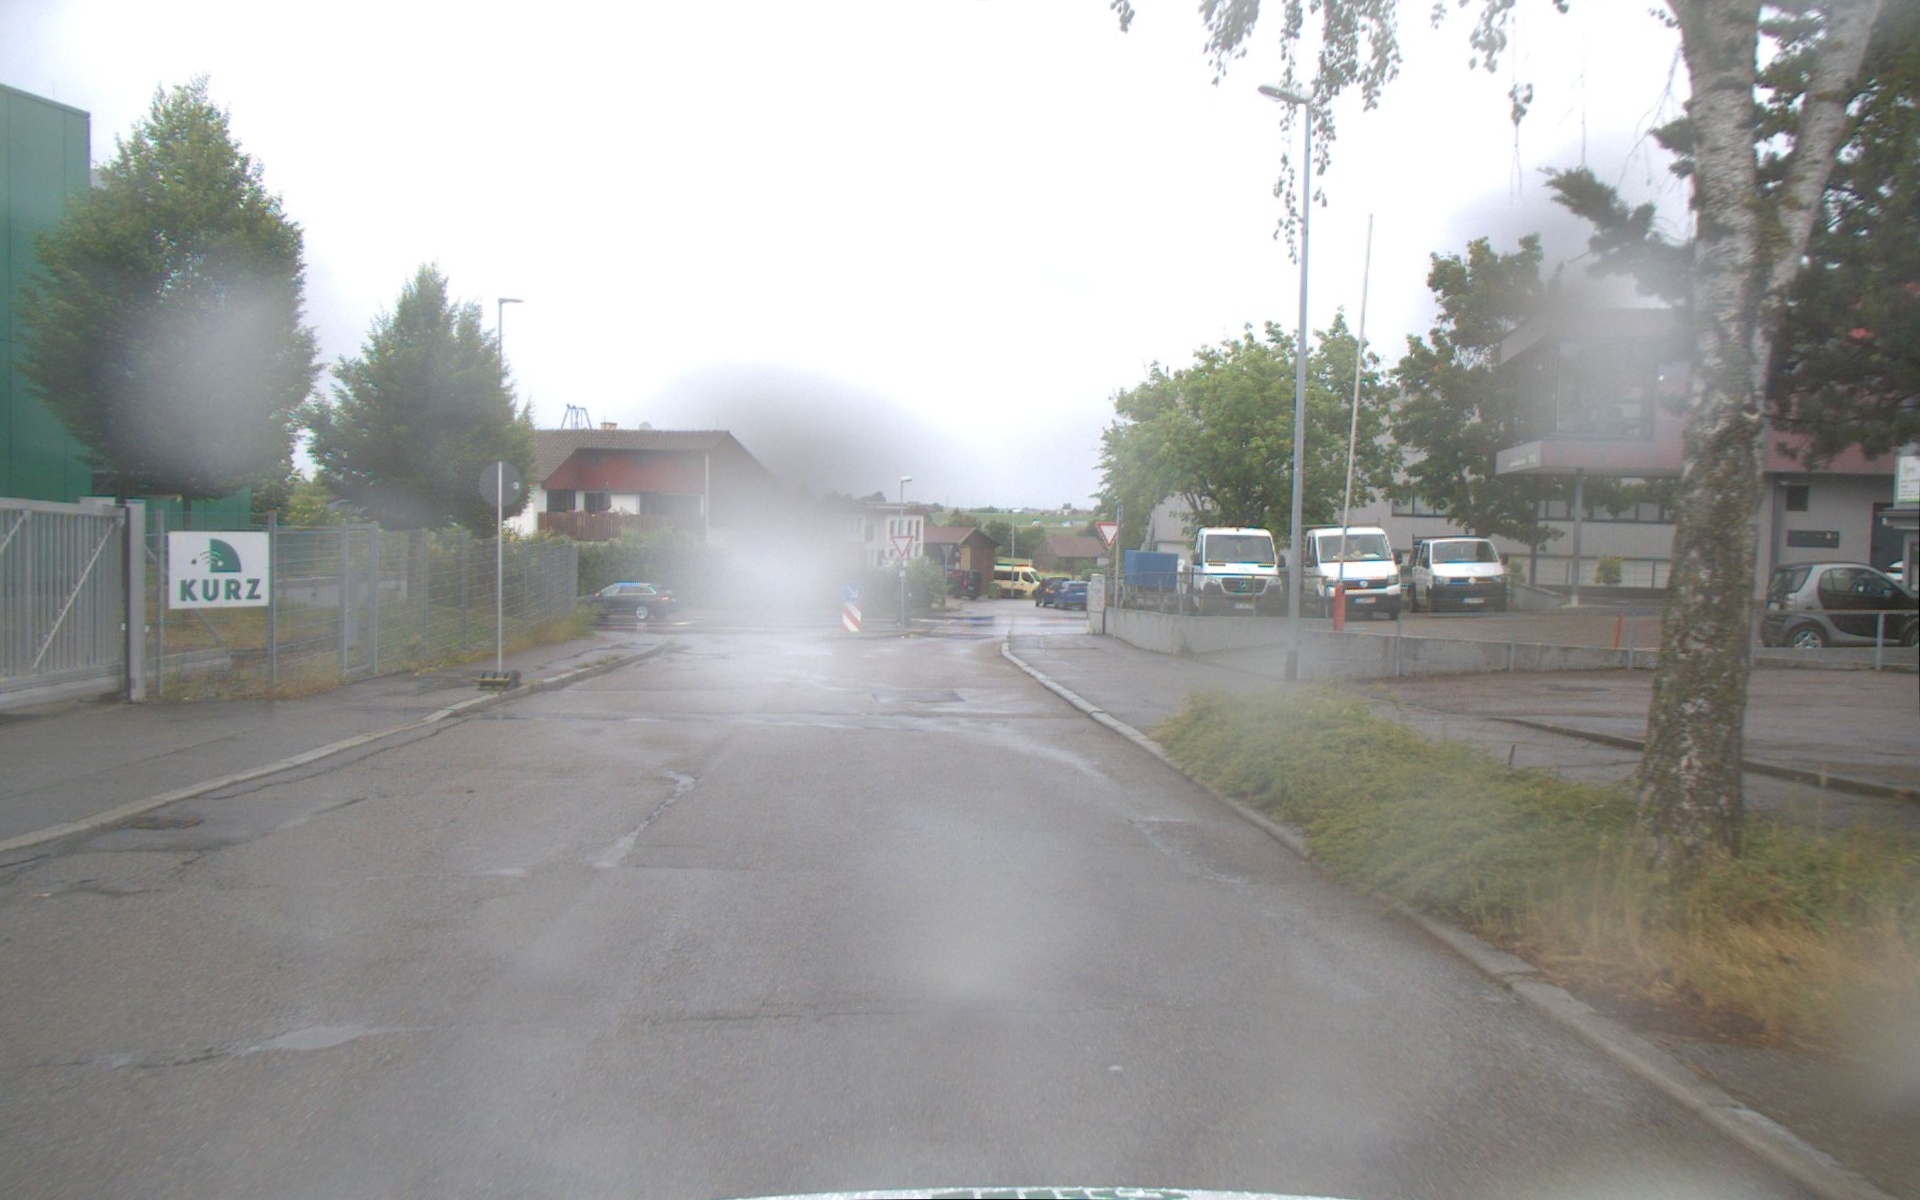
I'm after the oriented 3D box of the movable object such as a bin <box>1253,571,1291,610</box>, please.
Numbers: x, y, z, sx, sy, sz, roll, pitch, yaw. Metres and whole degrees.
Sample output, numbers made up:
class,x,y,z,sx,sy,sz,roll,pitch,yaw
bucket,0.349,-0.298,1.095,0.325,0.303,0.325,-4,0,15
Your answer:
class,x,y,z,sx,sy,sz,roll,pitch,yaw
movable object such as a bin,8.865,-0.270,47.005,1.027,1.061,0.885,1,0,10

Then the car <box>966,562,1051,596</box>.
class,x,y,z,sx,sy,sz,roll,pitch,yaw
car,3.659,-1.562,124.074,5.885,2.457,2.463,1,0,21

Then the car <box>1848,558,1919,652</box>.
class,x,y,z,sx,sy,sz,roll,pitch,yaw
car,20.278,0.236,33.141,3.843,1.767,1.860,6,3,12

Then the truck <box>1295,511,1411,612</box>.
class,x,y,z,sx,sy,sz,roll,pitch,yaw
truck,9.818,-0.916,41.696,2.195,2.383,4.840,1,0,5

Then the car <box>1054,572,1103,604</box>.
class,x,y,z,sx,sy,sz,roll,pitch,yaw
car,6.294,-0.643,88.260,1.913,1.638,4.442,1,0,-5

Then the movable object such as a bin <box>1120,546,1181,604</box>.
class,x,y,z,sx,sy,sz,roll,pitch,yaw
movable object such as a bin,5.152,-0.666,44.878,1.281,1.527,1.856,1,0,-6

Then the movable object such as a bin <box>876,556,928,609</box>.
class,x,y,z,sx,sy,sz,roll,pitch,yaw
movable object such as a bin,-2.879,-0.853,83.164,1.696,2.601,3.342,1,0,14

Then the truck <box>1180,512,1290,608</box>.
class,x,y,z,sx,sy,sz,roll,pitch,yaw
truck,6.943,-0.964,42.342,2.061,2.253,5.655,1,0,2

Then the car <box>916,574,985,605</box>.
class,x,y,z,sx,sy,sz,roll,pitch,yaw
car,-0.631,-0.655,106.471,4.333,1.938,1.987,1,0,43

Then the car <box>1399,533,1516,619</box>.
class,x,y,z,sx,sy,sz,roll,pitch,yaw
car,12.614,-0.594,42.242,2.013,2.049,4.942,1,0,6

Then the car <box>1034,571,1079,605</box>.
class,x,y,z,sx,sy,sz,roll,pitch,yaw
car,5.526,-0.673,94.961,2.033,1.867,4.467,1,0,-4

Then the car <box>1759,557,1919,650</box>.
class,x,y,z,sx,sy,sz,roll,pitch,yaw
car,14.802,0.051,27.174,2.654,1.472,1.679,0,0,11

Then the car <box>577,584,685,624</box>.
class,x,y,z,sx,sy,sz,roll,pitch,yaw
car,-13.339,0.145,67.098,3.902,1.561,1.762,1,0,14
